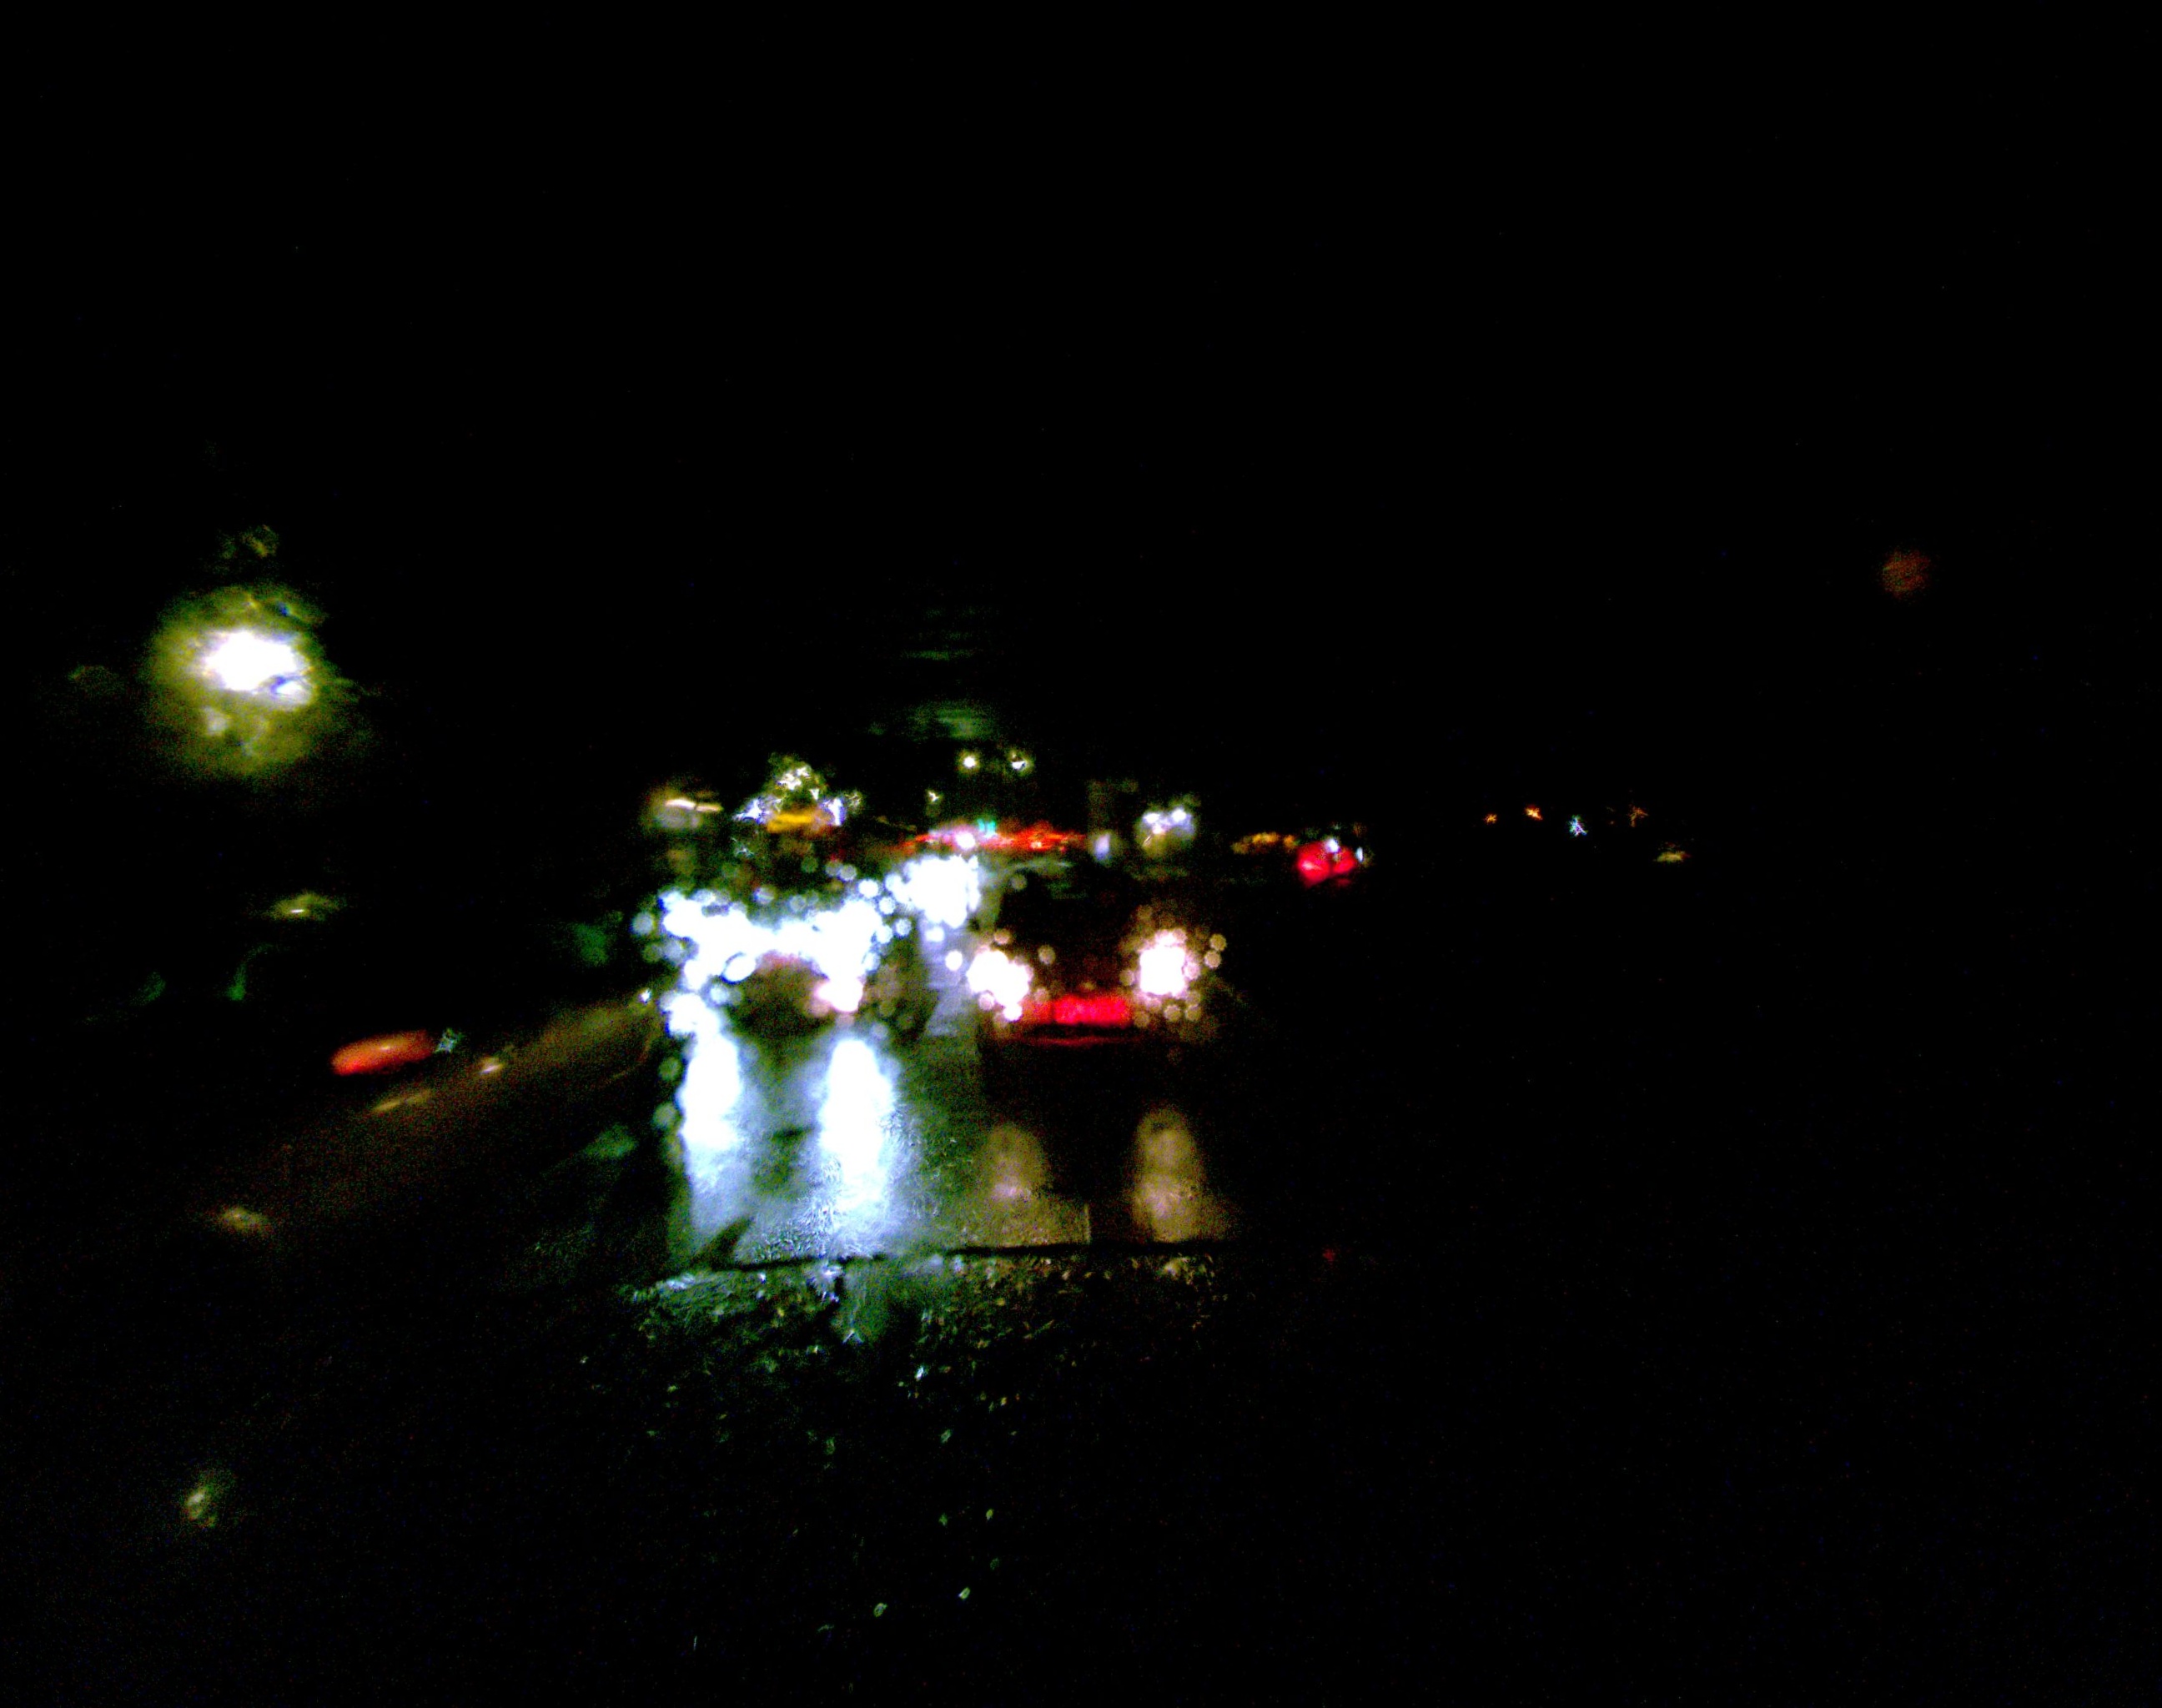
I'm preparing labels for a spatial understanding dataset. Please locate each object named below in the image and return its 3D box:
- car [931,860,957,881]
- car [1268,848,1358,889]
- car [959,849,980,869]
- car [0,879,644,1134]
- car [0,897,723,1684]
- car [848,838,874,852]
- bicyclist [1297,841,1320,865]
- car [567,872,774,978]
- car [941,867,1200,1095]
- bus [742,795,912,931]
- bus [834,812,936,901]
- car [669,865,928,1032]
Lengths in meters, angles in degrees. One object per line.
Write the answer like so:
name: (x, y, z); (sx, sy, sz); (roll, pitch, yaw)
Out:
car: (-10.240, 1.210, 57.042); (1.699, 1.455, 3.971); (0, 1, -6)
car: (9.048, 0.503, 30.086); (1.830, 1.455, 4.422); (-2, 1, -6)
car: (-9.671, 0.406, 65.876); (1.725, 1.695, 3.970); (0, 1, -9)
car: (-6.534, 1.098, 7.470); (1.724, 1.478, 4.786); (-1, 1, 0)
car: (-3.166, 1.036, 2.780); (1.724, 1.438, 4.161); (-1, 1, 0)
car: (-23.743, -0.937, 81.953); (1.712, 1.382, 3.990); (-2, 1, -32)
bicyclist: (13.909, -0.076, 46.465); (1.185, 1.427, 0.631); (1, 1, 42)
car: (-7.142, 1.143, 13.750); (1.725, 1.478, 4.160); (0, 1, -4)
car: (-0.086, 0.904, 7.146); (1.755, 1.438, 3.973); (0, 1, 0)
bus: (-7.280, 0.151, 23.449); (2.742, 3.258, 9.693); (-2, 1, -6)
bus: (-8.205, 0.031, 33.091); (2.742, 3.219, 9.693); (-2, 1, -6)
car: (-3.327, 1.003, 9.903); (1.724, 1.478, 4.161); (-4, 1, 0)
